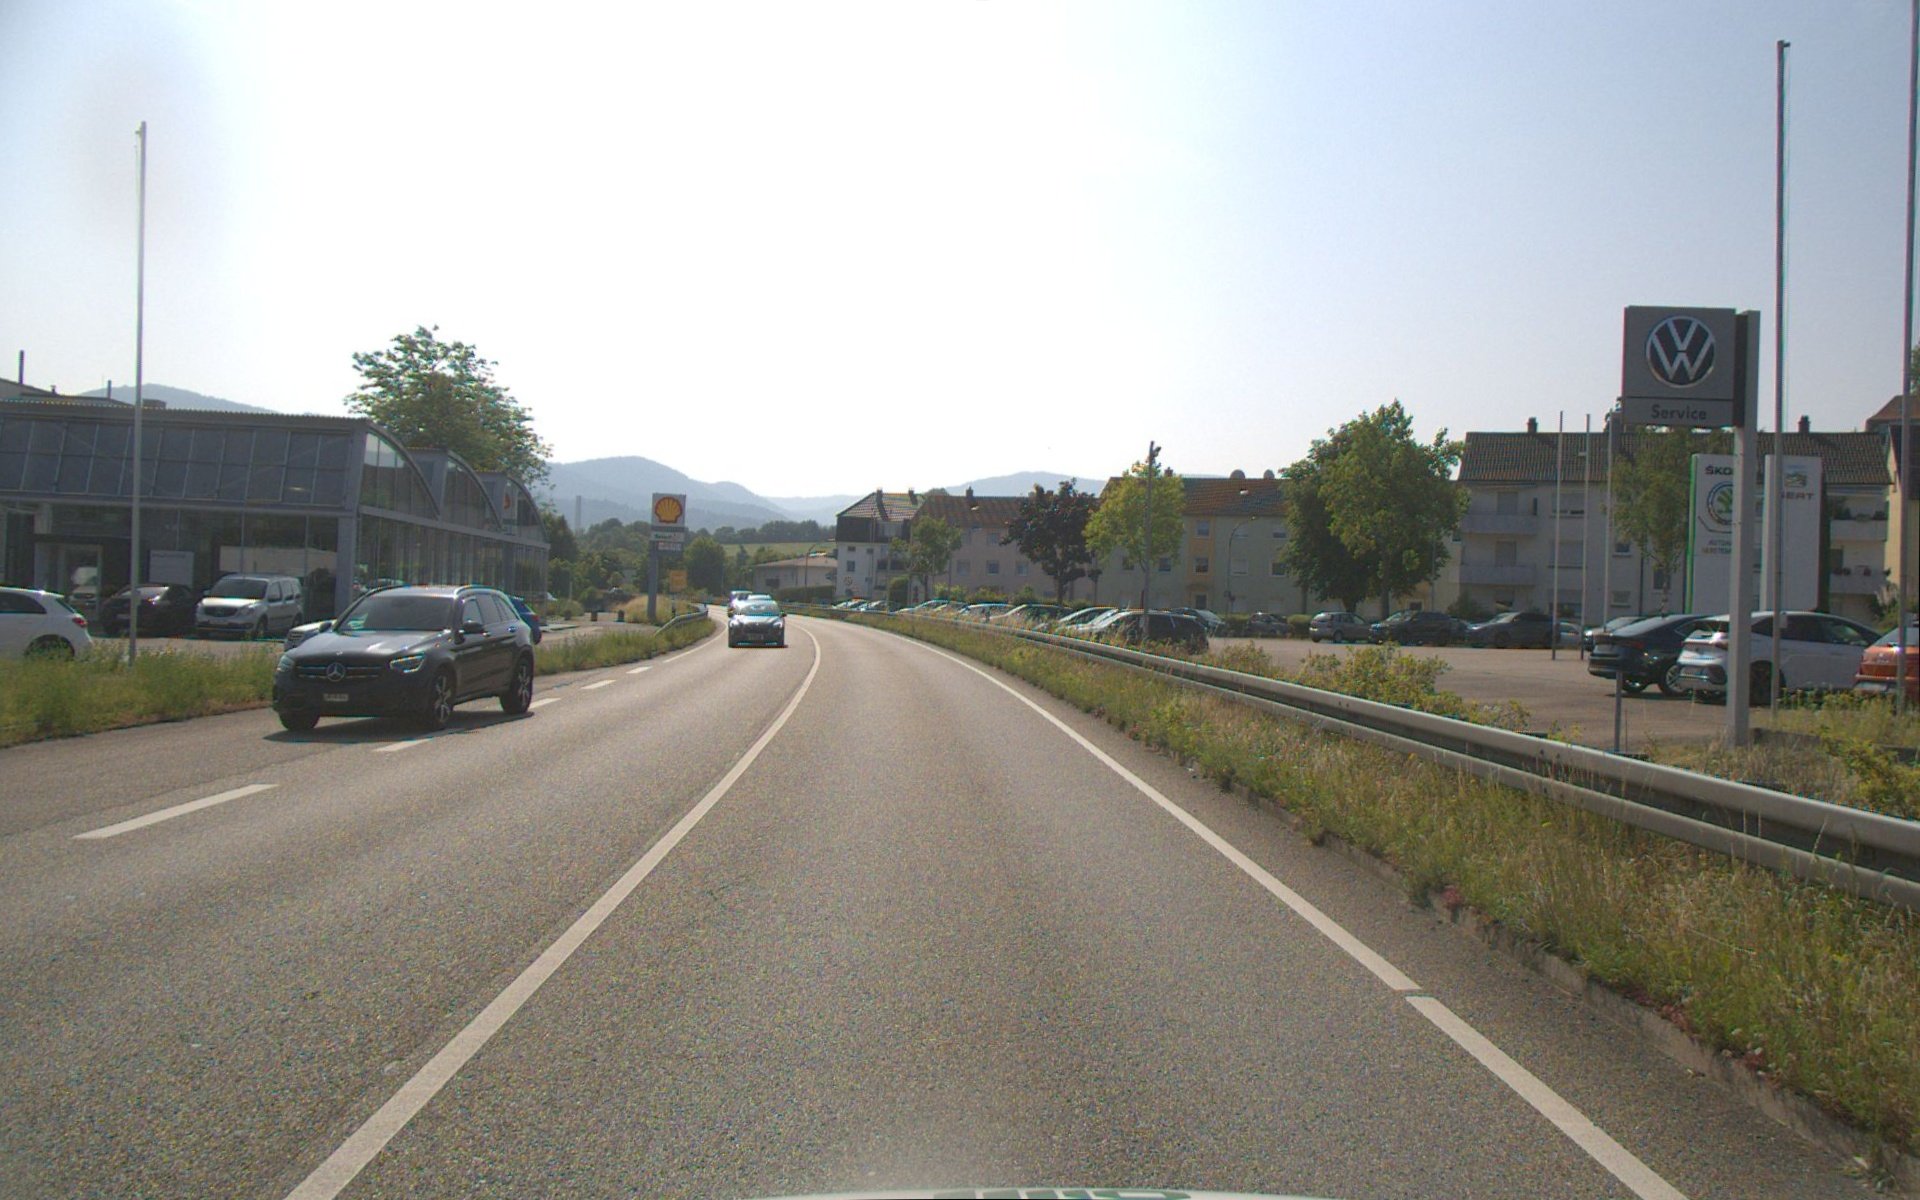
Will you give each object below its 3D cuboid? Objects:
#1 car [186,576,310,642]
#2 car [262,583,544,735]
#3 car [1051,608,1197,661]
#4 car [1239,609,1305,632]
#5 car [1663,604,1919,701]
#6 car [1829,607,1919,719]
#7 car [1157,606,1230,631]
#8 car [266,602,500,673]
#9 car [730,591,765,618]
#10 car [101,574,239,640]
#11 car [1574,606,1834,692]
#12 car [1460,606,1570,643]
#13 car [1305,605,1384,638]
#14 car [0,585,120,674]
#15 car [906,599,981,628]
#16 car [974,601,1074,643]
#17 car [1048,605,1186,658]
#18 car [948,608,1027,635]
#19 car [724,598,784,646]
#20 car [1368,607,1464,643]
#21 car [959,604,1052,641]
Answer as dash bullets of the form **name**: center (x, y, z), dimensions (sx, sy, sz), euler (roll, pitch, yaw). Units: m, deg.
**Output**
- **car**: center (-20.087, 0.208, 46.857), dimensions (1.769, 1.743, 4.406), euler (1, 1, -3)
- **car**: center (-6.672, 0.643, 20.367), dimensions (1.773, 1.658, 4.542), euler (0, 0, 2)
- **car**: center (4.847, 1.007, 49.216), dimensions (4.078, 1.517, 1.730), euler (0, -1, -5)
- **car**: center (17.215, 1.147, 91.360), dimensions (1.573, 1.207, 3.624), euler (1, -1, -31)
- **car**: center (14.375, 0.879, 28.191), dimensions (4.011, 1.542, 1.823), euler (1, -1, -3)
- **car**: center (14.362, 0.866, 22.727), dimensions (3.907, 1.471, 1.823), euler (1, -1, -3)
- **car**: center (13.645, 1.057, 96.914), dimensions (1.889, 1.430, 4.478), euler (1, -1, -31)
- **car**: center (-12.237, 0.770, 35.245), dimensions (4.361, 1.391, 1.824), euler (1, 0, -44)
- **car**: center (-15.379, 0.336, 119.626), dimensions (1.883, 1.918, 4.890), euler (0, 0, -15)
- **car**: center (-22.350, 0.155, 47.016), dimensions (1.769, 1.743, 4.935), euler (1, 1, -4)
- **car**: center (13.849, 0.892, 30.902), dimensions (4.076, 1.542, 1.822), euler (0, -1, -7)
- **car**: center (24.365, 1.090, 72.609), dimensions (4.557, 1.548, 1.851), euler (1, -1, -23)
- **car**: center (18.748, 1.063, 80.567), dimensions (3.719, 1.548, 1.638), euler (1, 0, -33)
- **car**: center (-16.343, 0.449, 27.124), dimensions (4.198, 1.427, 1.867), euler (3, -1, -44)
- **car**: center (-0.985, 0.789, 98.468), dimensions (4.236, 1.669, 2.137), euler (1, -1, -7)
- **car**: center (2.649, 0.909, 69.114), dimensions (3.911, 1.669, 1.885), euler (1, -1, -7)
- **car**: center (4.910, 0.979, 52.090), dimensions (4.078, 1.583, 1.769), euler (0, -1, -5)
- **car**: center (1.554, 1.225, 93.254), dimensions (4.240, 1.469, 1.625), euler (1, -1, -9)
- **car**: center (-6.737, 0.689, 53.816), dimensions (1.720, 1.500, 4.276), euler (0, 0, -10)
- **car**: center (21.357, 1.163, 77.424), dimensions (4.436, 1.628, 1.822), euler (1, -1, -31)
- **car**: center (2.064, 1.016, 75.186), dimensions (3.916, 1.608, 1.773), euler (1, -1, -11)
